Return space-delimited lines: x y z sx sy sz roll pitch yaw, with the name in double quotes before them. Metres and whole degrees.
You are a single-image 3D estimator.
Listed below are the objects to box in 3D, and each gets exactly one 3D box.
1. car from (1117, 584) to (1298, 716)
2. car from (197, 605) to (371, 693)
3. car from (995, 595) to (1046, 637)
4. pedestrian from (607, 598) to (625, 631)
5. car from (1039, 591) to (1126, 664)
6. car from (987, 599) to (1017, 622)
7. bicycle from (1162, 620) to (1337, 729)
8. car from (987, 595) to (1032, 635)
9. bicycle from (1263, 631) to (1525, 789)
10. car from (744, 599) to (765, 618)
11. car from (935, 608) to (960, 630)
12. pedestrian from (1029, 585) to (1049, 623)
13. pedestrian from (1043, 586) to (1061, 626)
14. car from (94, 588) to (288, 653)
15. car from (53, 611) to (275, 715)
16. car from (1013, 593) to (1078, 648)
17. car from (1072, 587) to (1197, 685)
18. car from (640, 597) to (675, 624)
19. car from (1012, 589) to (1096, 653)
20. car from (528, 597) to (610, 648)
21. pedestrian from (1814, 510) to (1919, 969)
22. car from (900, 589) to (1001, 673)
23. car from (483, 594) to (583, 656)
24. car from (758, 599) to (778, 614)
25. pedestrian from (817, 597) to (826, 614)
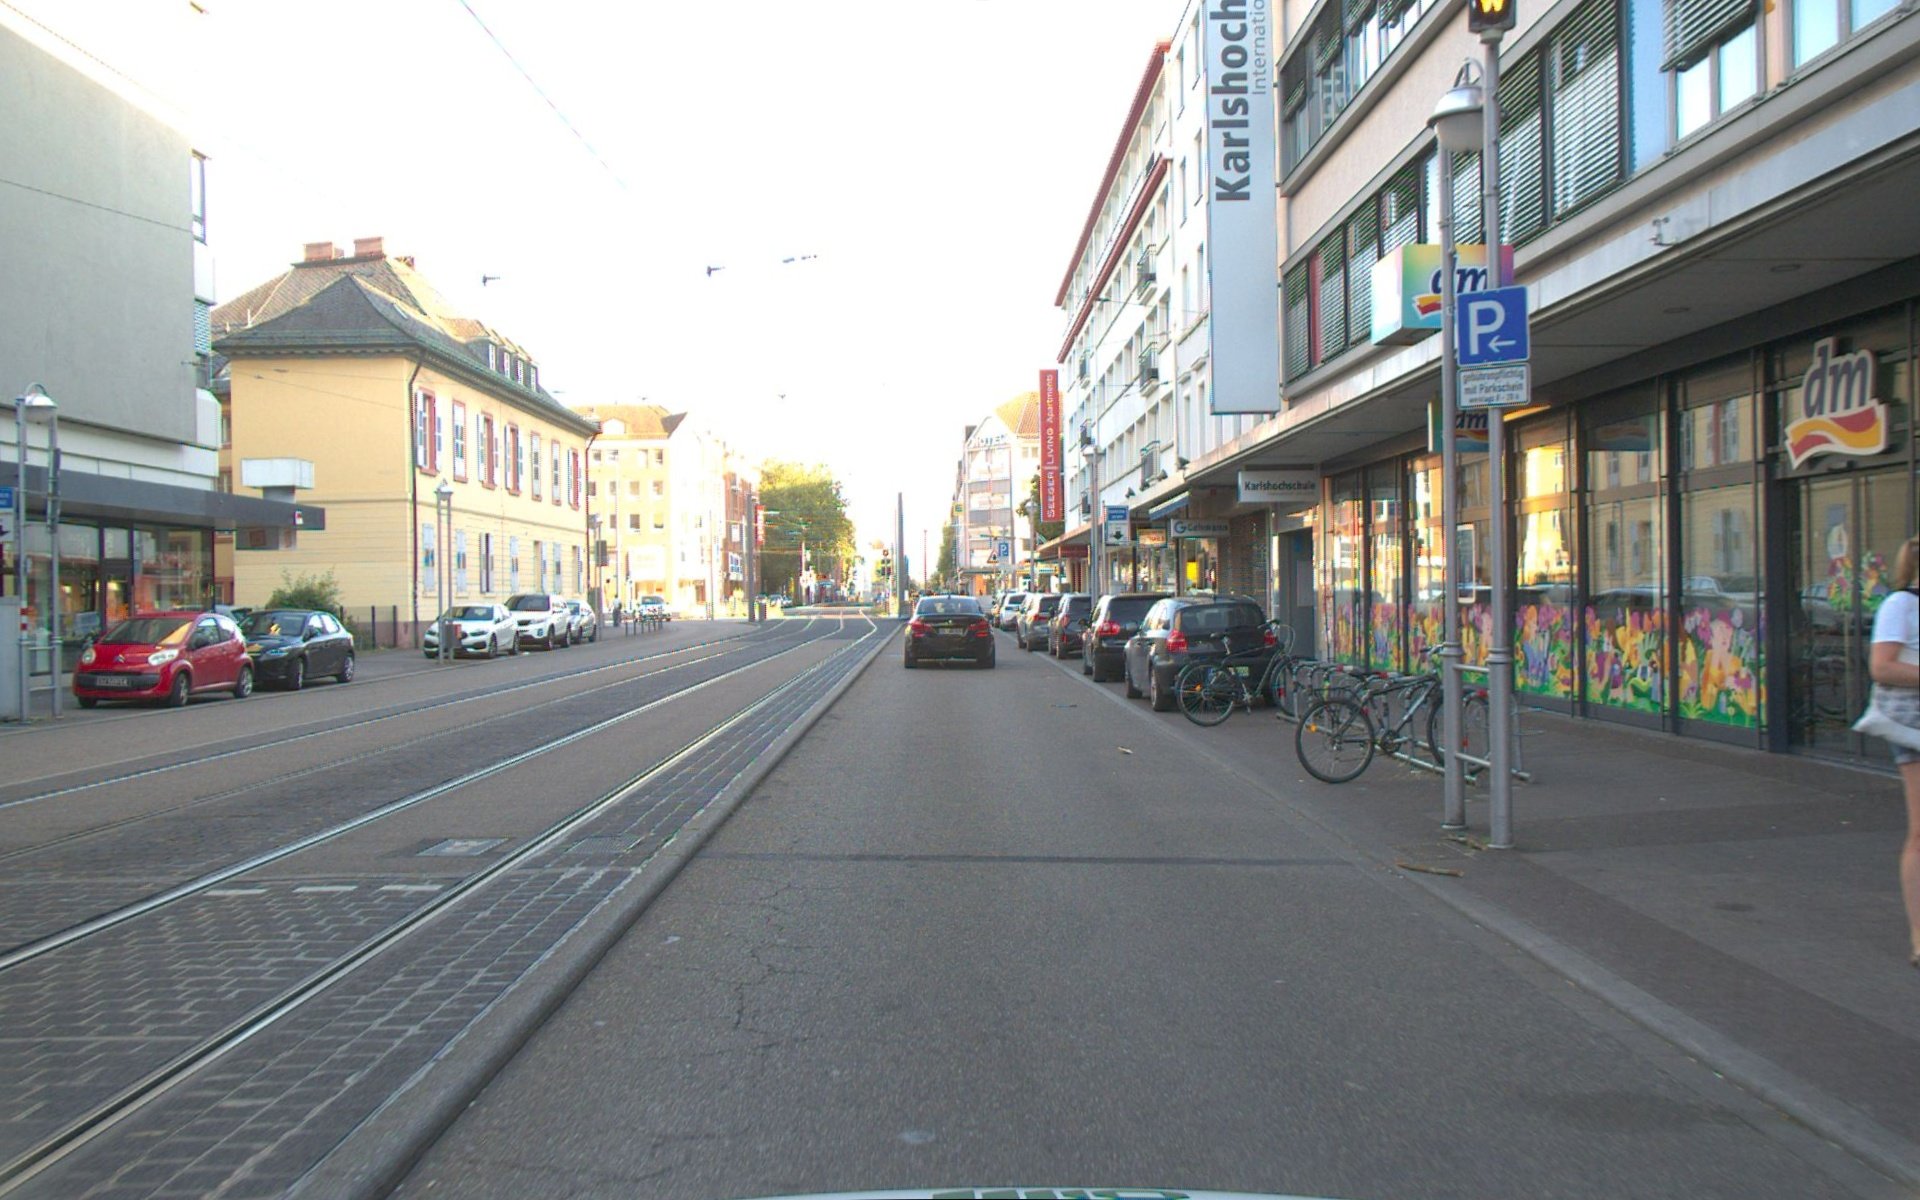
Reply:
"car" 3.218 0.602 22.290 1.708 1.538 4.257 -2 0 -1
"car" -12.946 0.890 31.951 1.651 1.538 4.214 -1 0 -1
"car" 2.358 0.607 64.950 1.749 1.538 4.051 -2 0 -1
"pedestrian" -16.675 0.702 80.245 0.717 1.612 0.954 -1 0 -6
"car" 2.810 0.609 38.633 1.651 1.538 4.034 -2 0 -1
"car" 2.956 0.743 116.922 1.953 1.579 3.999 -1 0 -1
"bicycle" 3.285 0.835 18.851 1.848 1.158 0.676 -1 0 -4
"car" 2.063 0.608 70.089 1.700 1.538 4.685 -2 0 -1
"bicycle" 3.418 0.850 13.104 1.848 1.095 0.676 -3 0 -4
"car" -22.185 0.890 178.890 1.954 1.934 4.808 -1 0 -4
"car" -0.920 1.451 127.332 1.775 1.538 4.432 -1 0 1
"pedestrian" 3.710 0.200 77.485 0.810 1.748 0.843 -2 0 -1
"pedestrian" 4.257 0.269 76.262 0.714 1.771 0.863 -2 0 -1
"car" -18.995 0.501 40.990 3.905 1.492 1.846 -1 0 1
"car" -12.973 0.974 27.248 1.651 1.538 4.214 0 0 -1
"car" 2.582 0.598 50.795 1.700 1.538 4.303 -2 0 -1
"car" 3.010 0.583 29.340 1.685 1.538 4.167 -2 0 -1
"car" -17.511 0.599 95.887 1.772 1.538 4.027 -1 0 -8
"car" 2.465 0.522 44.296 1.754 1.538 4.710 -2 0 -2
"car" -13.509 0.759 57.398 1.775 1.645 4.215 -1 0 1
"pedestrian" 3.927 0.525 6.667 0.592 1.757 0.646 -1 0 -1
"car" -0.220 0.603 34.514 1.953 1.612 3.999 -1 0 -1
"car" -13.288 0.756 51.748 1.775 1.817 4.499 2 0 2
"car" -21.898 0.696 189.067 1.954 1.612 4.584 -1 0 -3
"pedestrian" -17.074 0.665 204.045 0.968 2.049 0.725 1 -1 -3
